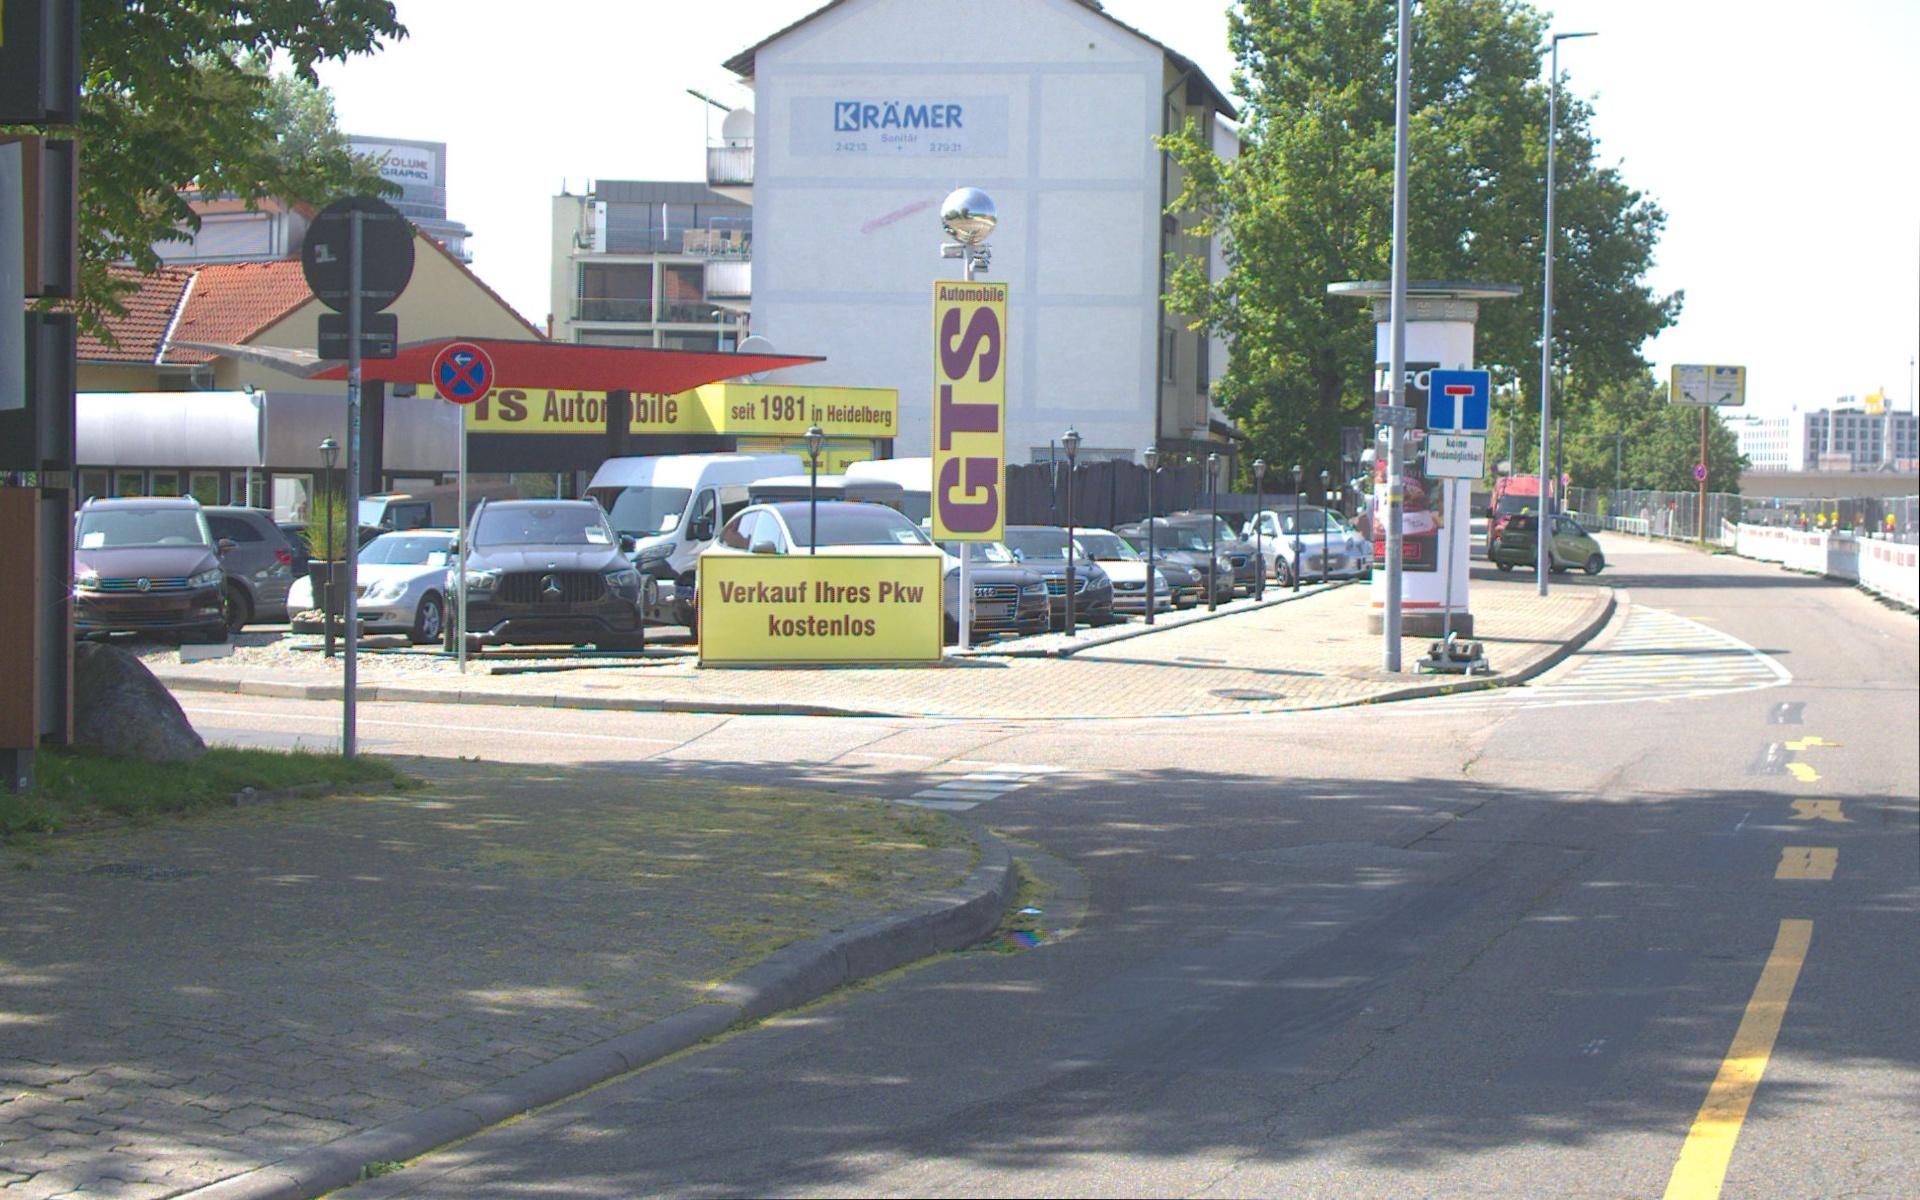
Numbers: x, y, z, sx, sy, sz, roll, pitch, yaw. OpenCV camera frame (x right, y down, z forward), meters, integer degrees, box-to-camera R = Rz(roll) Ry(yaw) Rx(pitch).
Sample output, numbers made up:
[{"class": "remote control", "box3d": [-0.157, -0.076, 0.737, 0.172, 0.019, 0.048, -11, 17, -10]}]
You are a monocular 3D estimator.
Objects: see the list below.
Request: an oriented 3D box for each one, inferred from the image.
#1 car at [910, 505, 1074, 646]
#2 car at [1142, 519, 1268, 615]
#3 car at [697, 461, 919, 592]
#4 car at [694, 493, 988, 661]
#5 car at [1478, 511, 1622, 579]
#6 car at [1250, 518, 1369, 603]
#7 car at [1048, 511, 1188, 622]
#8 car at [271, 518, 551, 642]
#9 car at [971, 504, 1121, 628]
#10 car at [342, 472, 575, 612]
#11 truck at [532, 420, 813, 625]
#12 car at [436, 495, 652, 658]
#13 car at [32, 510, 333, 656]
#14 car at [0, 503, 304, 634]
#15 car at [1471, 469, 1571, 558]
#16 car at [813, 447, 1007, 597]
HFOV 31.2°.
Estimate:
[{"class": "car", "box3d": [0.348, -0.342, 42.740, 1.856, 1.623, 4.001, 1, 1, -2]}, {"class": "car", "box3d": [4.400, -0.622, 62.235, 1.856, 1.623, 4.001, 1, 1, -2]}, {"class": "car", "box3d": [-2.144, -1.056, 49.886, 1.878, 1.732, 4.719, 3, 2, 14]}, {"class": "car", "box3d": [-1.381, -0.291, 38.127, 1.993, 1.719, 4.001, 2, 1, -21]}, {"class": "car", "box3d": [15.349, -1.425, 89.391, 3.270, 1.632, 1.727, 2, 1, -28]}, {"class": "car", "box3d": [7.065, -0.824, 69.835, 1.856, 1.623, 4.001, 1, 1, -2]}, {"class": "car", "box3d": [2.426, -0.555, 53.774, 1.856, 1.623, 4.001, 1, 1, -2]}, {"class": "car", "box3d": [-7.075, -0.263, 44.690, 1.790, 1.482, 3.996, 2, 1, 21]}, {"class": "car", "box3d": [1.163, -0.511, 48.318, 1.856, 1.623, 4.001, 1, 1, -2]}, {"class": "car", "box3d": [-7.706, -0.883, 53.275, 1.995, 2.007, 4.493, 2, 1, 13]}, {"class": "truck", "box3d": [-4.331, -1.184, 53.066, 2.271, 2.893, 5.939, 3, 2, 16]}, {"class": "car", "box3d": [-4.568, -0.282, 37.218, 2.046, 1.589, 4.425, 2, 1, -10]}, {"class": "car", "box3d": [-8.754, -0.204, 39.044, 1.789, 1.504, 3.998, 2, 1, 12]}, {"class": "car", "box3d": [-11.077, -0.429, 45.458, 4.319, 1.579, 2.001, 2, 1, -24]}, {"class": "car", "box3d": [16.908, -2.580, 103.343, 2.539, 2.511, 5.115, 2, 1, 13]}, {"class": "car", "box3d": [-0.750, -1.267, 55.762, 2.137, 2.276, 4.709, 2, 1, 12]}]
